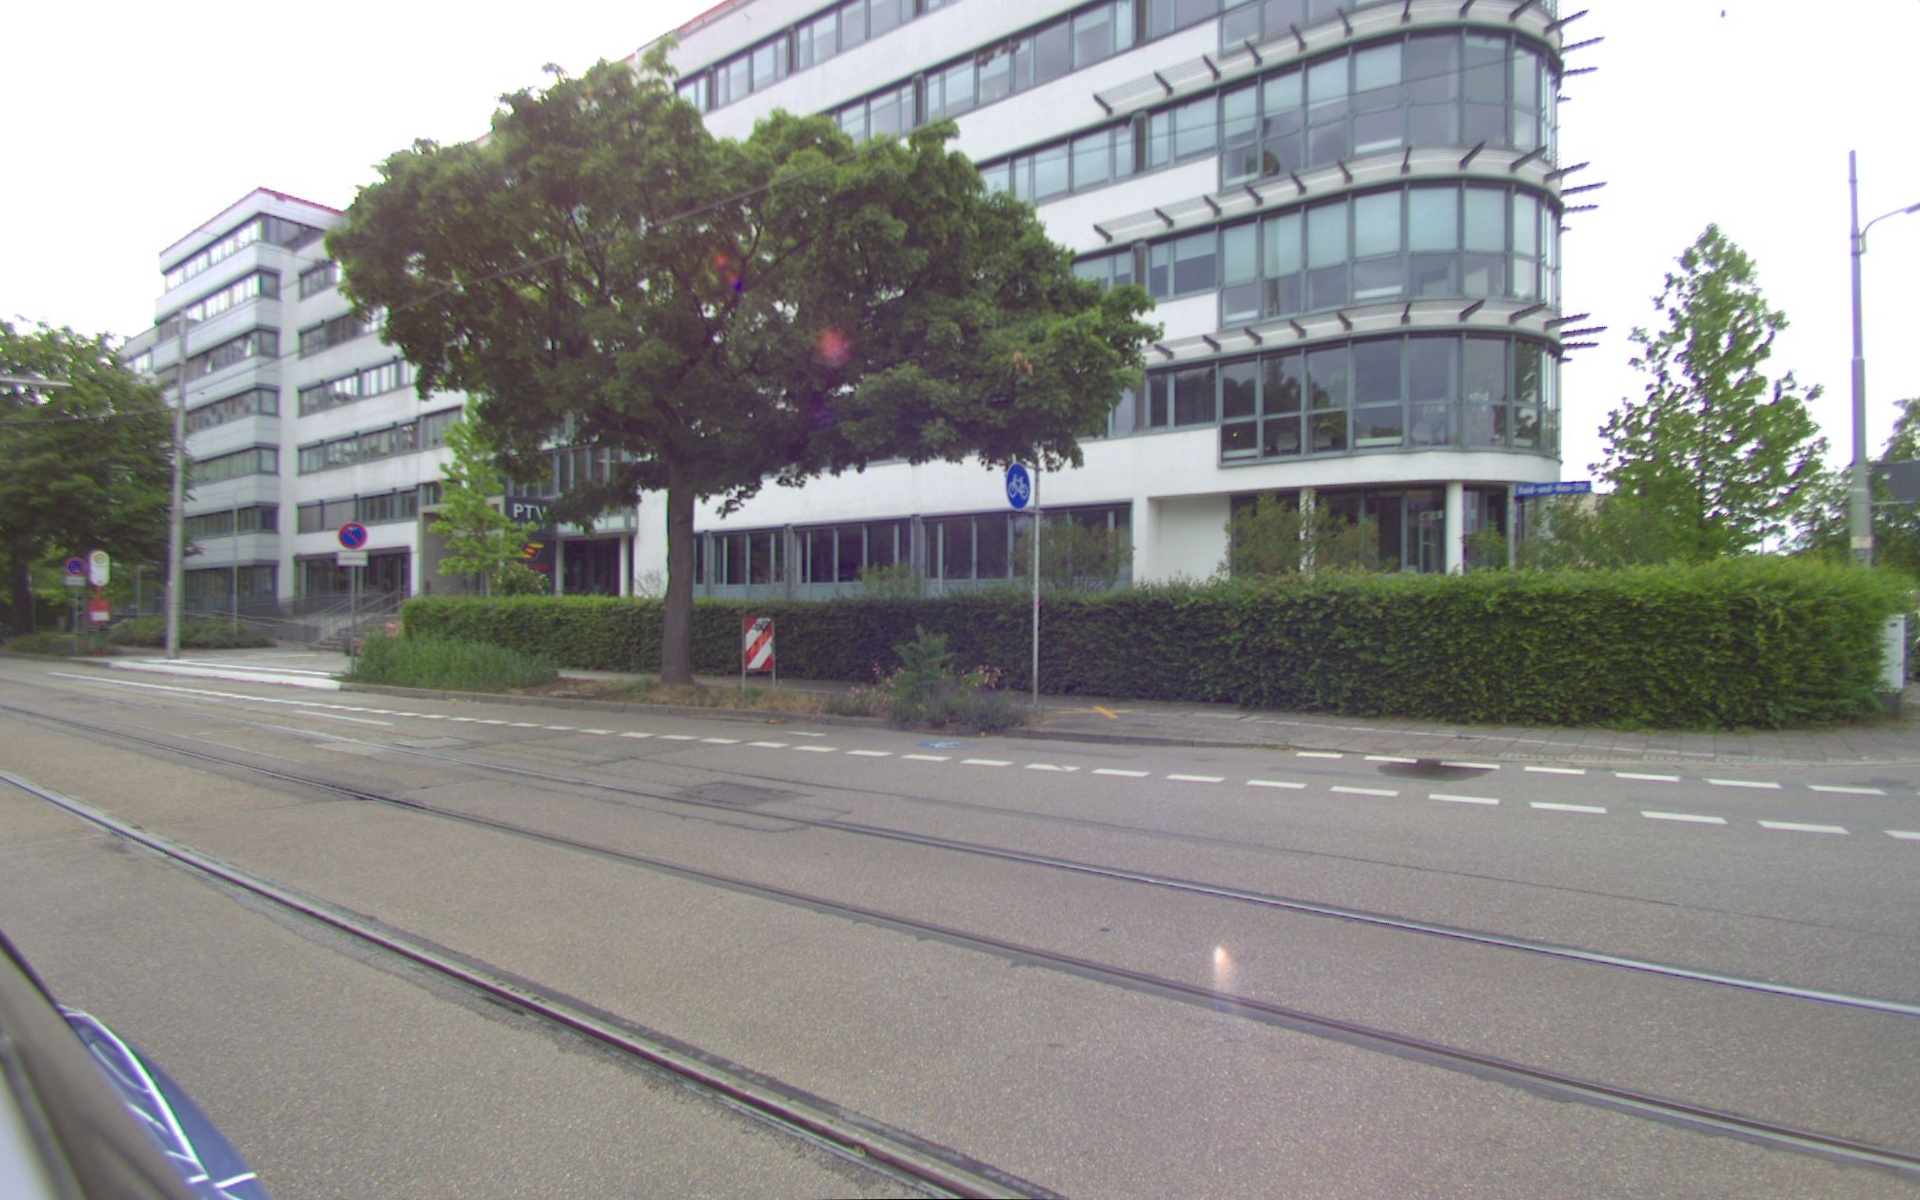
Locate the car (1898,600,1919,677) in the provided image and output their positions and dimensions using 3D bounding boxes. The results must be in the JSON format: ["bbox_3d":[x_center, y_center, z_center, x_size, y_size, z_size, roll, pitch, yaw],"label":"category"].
[{"bbox_3d":[21.473,0.824,21.236,1.995,1.663,3.954,0,-1,34],"label":"car"}]
